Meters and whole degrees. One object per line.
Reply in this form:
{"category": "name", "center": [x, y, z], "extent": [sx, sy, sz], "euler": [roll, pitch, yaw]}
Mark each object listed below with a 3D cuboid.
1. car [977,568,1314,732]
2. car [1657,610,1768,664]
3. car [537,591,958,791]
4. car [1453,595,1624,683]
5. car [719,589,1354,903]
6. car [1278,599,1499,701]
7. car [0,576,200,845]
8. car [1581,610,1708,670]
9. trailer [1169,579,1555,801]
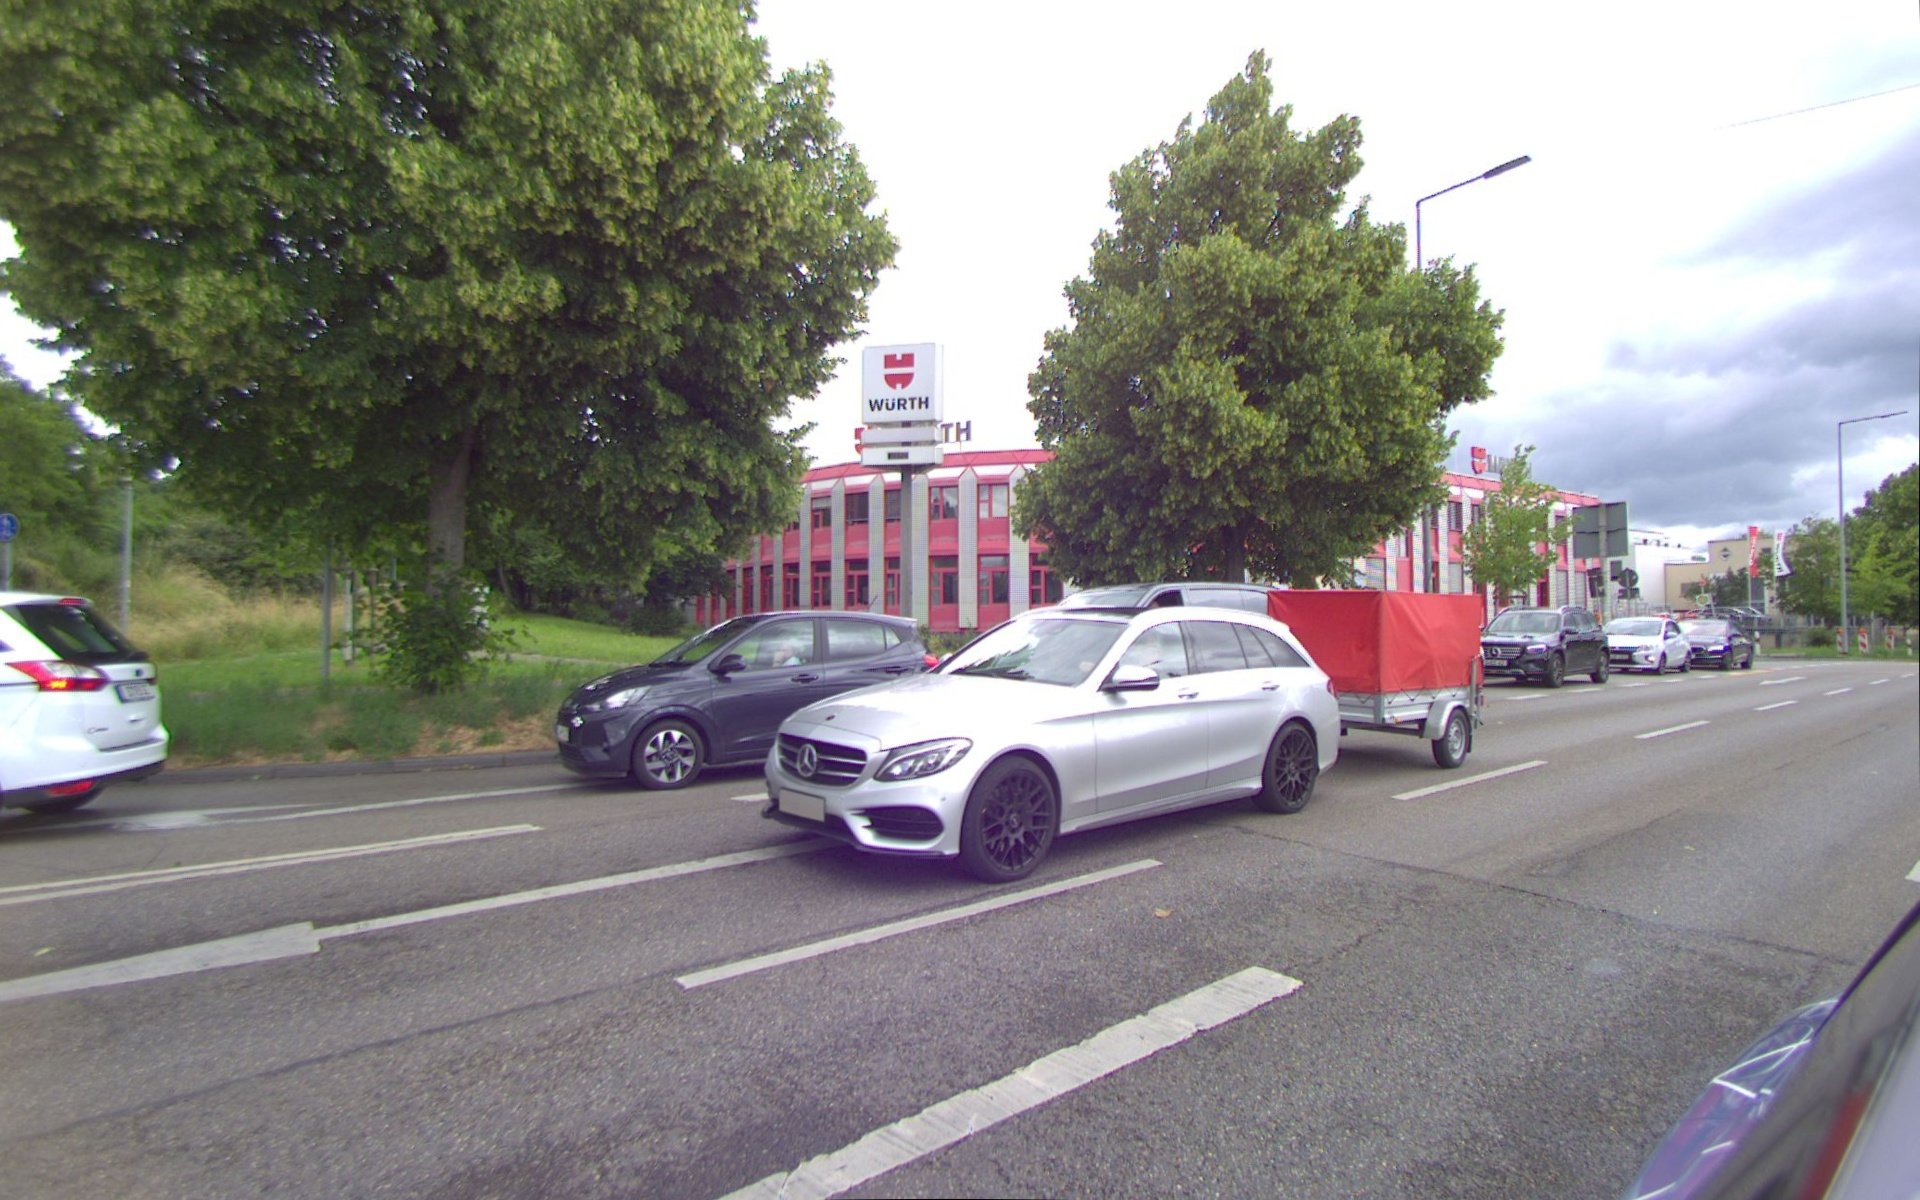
{"category": "car", "center": [2.555, 0.605, 13.236], "extent": [4.591, 1.798, 1.761], "euler": [1, -4, -40]}
{"category": "car", "center": [22.217, 1.036, 29.836], "extent": [4.293, 1.458, 1.761], "euler": [0, -1, -41]}
{"category": "car", "center": [-1.928, 0.730, 9.482], "extent": [3.495, 1.526, 1.607], "euler": [-1, -3, -34]}
{"category": "car", "center": [12.386, 0.810, 21.585], "extent": [4.133, 1.679, 1.863], "euler": [1, -3, -41]}
{"category": "car", "center": [0.744, 0.676, 6.894], "extent": [4.323, 1.469, 1.774], "euler": [-1, 1, -40]}
{"category": "car", "center": [7.401, 0.804, 17.325], "extent": [4.034, 1.536, 1.842], "euler": [0, -4, -41]}
{"category": "car", "center": [-7.839, 0.679, 6.583], "extent": [4.277, 1.676, 1.768], "euler": [0, 0, -20]}
{"category": "car", "center": [18.284, 1.006, 26.965], "extent": [4.293, 1.458, 1.761], "euler": [0, -1, -41]}
{"category": "trailer", "center": [3.932, 0.656, 9.618], "extent": [3.926, 1.680, 1.774], "euler": [-1, 0, -40]}
